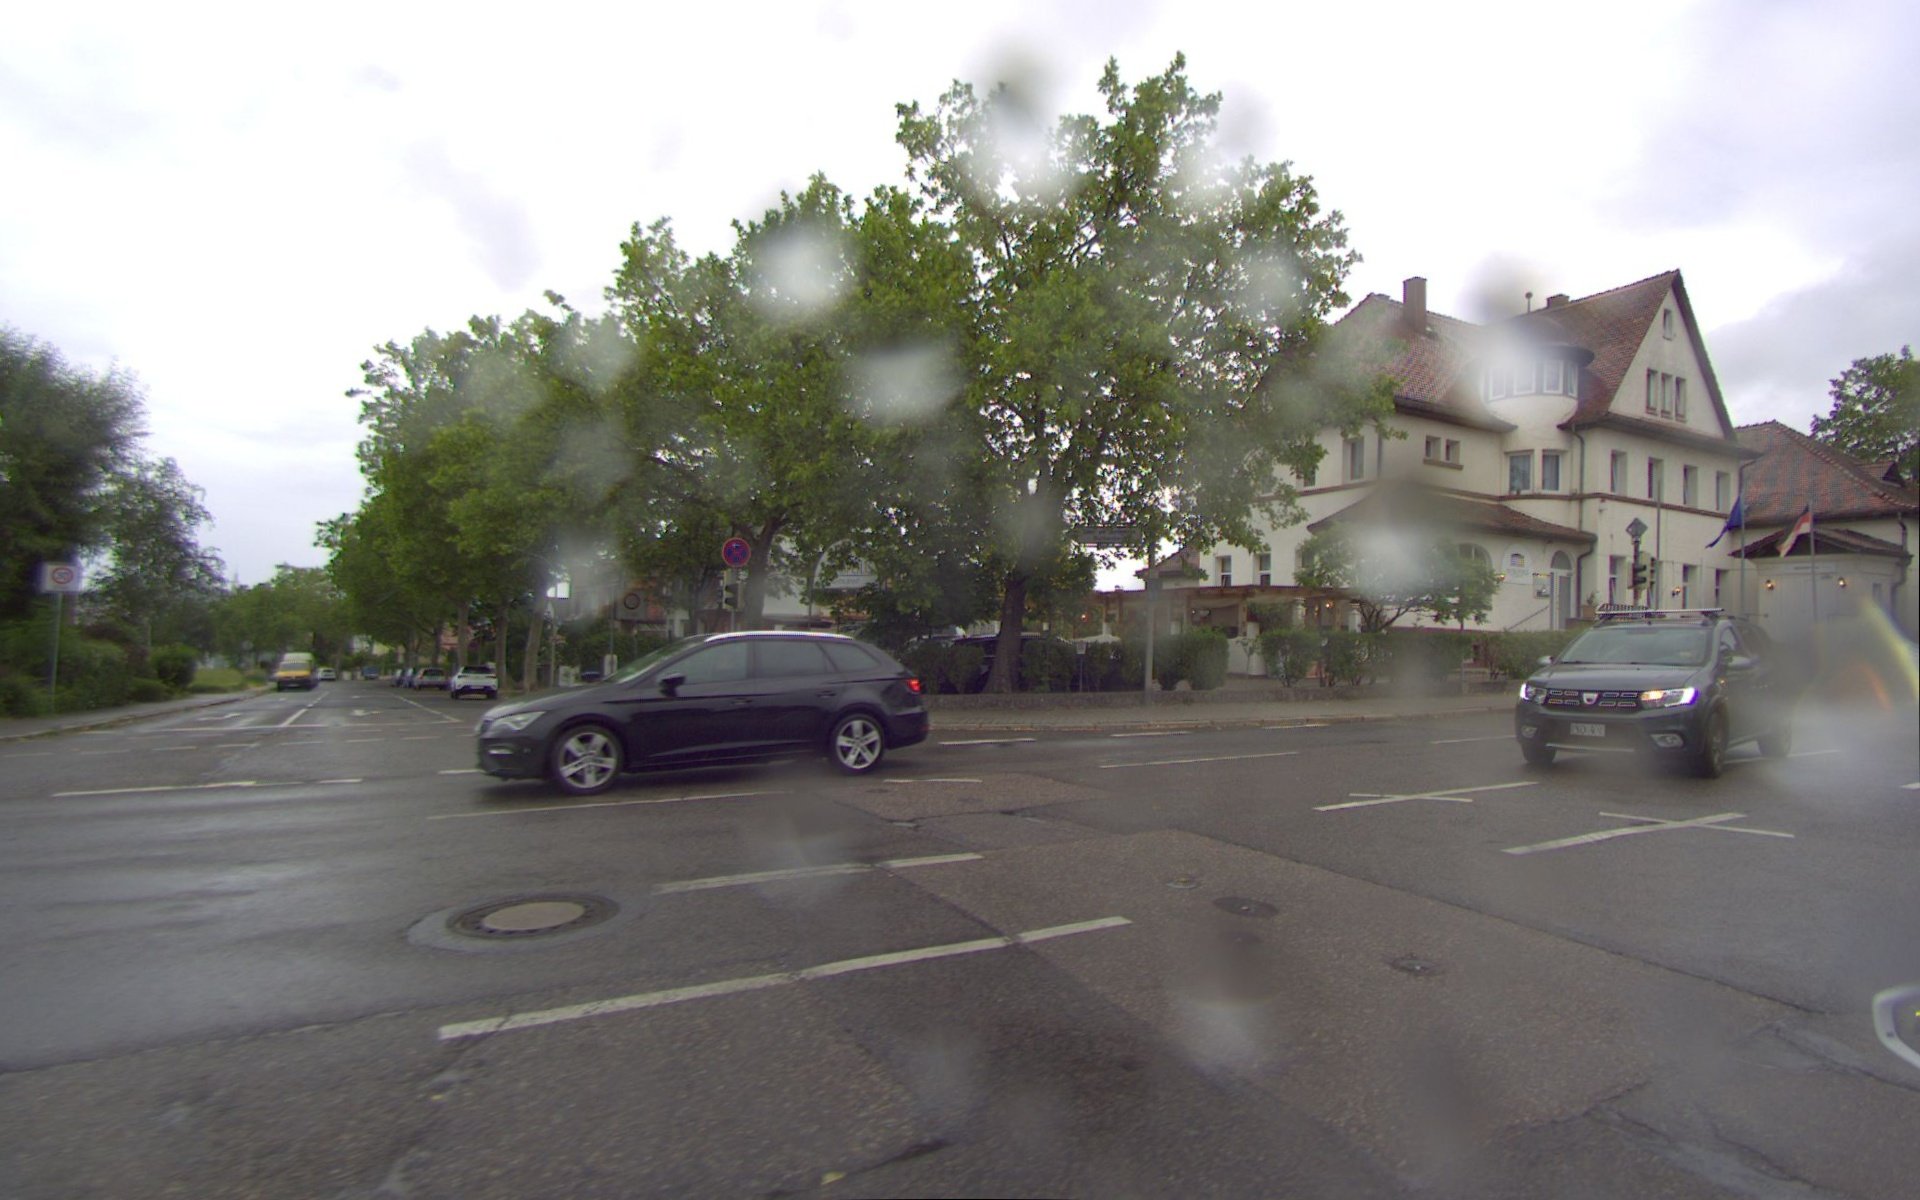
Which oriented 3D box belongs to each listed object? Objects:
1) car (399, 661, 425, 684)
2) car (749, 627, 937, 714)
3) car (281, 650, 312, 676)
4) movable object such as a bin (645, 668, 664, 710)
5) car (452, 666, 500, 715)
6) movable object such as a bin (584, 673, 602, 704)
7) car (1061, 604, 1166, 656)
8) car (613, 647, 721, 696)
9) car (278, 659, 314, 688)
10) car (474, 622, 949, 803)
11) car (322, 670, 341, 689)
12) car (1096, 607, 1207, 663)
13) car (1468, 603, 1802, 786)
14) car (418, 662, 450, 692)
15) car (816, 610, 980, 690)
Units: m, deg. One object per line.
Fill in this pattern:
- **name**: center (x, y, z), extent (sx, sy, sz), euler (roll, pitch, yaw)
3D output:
- **car**: center (-42.081, 5.538, 77.167), extent (1.641, 1.436, 3.654), euler (2, 0, -30)
- **car**: center (-2.704, 1.566, 23.408), extent (3.952, 1.573, 1.800), euler (-3, 2, -30)
- **car**: center (-48.773, 4.630, 73.900), extent (1.690, 1.651, 3.654), euler (2, 0, -30)
- **movable object such as a bin**: center (-8.032, 2.326, 26.423), extent (0.404, 1.057, 0.450), euler (2, 0, -12)
- **car**: center (-22.128, 4.082, 45.855), extent (1.690, 1.833, 3.654), euler (2, 0, -30)
- **movable object such as a bin**: center (-11.104, 2.674, 30.403), extent (0.446, 0.918, 0.450), euler (2, 0, -12)
- **car**: center (6.377, 1.235, 41.727), extent (3.956, 2.040, 1.982), euler (2, 0, -32)
- **car**: center (-10.614, 2.559, 36.431), extent (3.455, 1.575, 1.799), euler (2, 0, -28)
- **car**: center (-43.652, 4.805, 66.069), extent (1.690, 1.651, 3.654), euler (2, 0, -30)
- **car**: center (-2.461, 0.970, 10.235), extent (4.365, 1.446, 1.899), euler (0, -1, -31)
- **car**: center (-78.626, 9.943, 125.601), extent (1.979, 2.040, 3.963), euler (1, 0, -33)
- **car**: center (7.503, 1.374, 39.372), extent (3.956, 2.040, 1.982), euler (2, 0, -32)
- **car**: center (7.483, 0.852, 10.962), extent (4.466, 1.598, 1.883), euler (0, -1, -40)
- **car**: center (-34.807, 5.071, 66.443), extent (1.690, 1.651, 3.654), euler (2, 0, -30)
- **car**: center (-1.628, 1.262, 26.776), extent (3.952, 1.786, 1.800), euler (-3, 2, -30)
